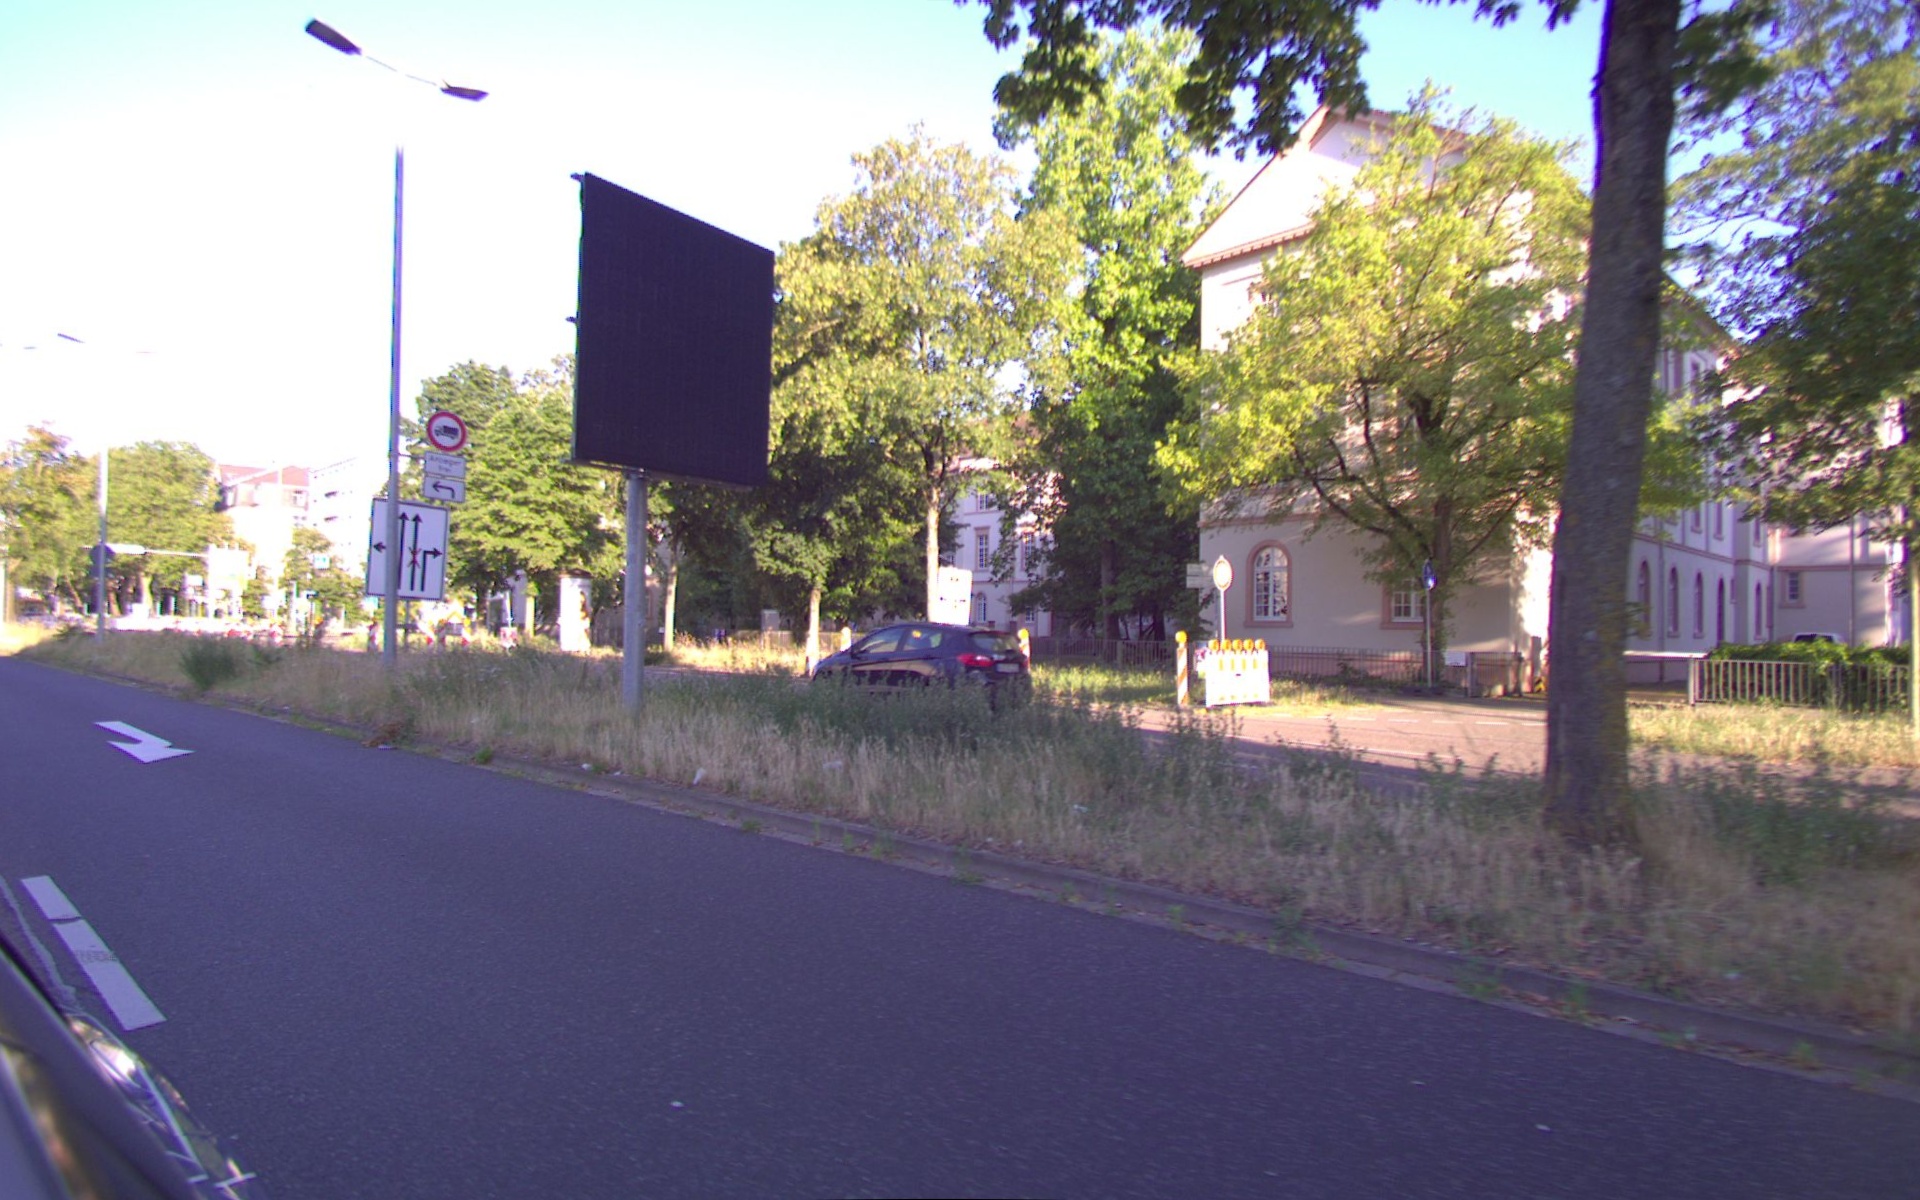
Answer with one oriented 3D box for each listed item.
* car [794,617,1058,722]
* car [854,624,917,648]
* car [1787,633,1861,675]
[{"bbox_3d":[-0.620,1.043,15.845,4.007,1.428,1.754,-1,-5,43],"label":"car"},{"bbox_3d":[-4.737,2.274,63.734,3.999,1.386,1.676,-1,0,42],"label":"car"},{"bbox_3d":[33.550,2.080,39.268,3.947,1.560,1.781,3,-3,-44],"label":"car"}]
